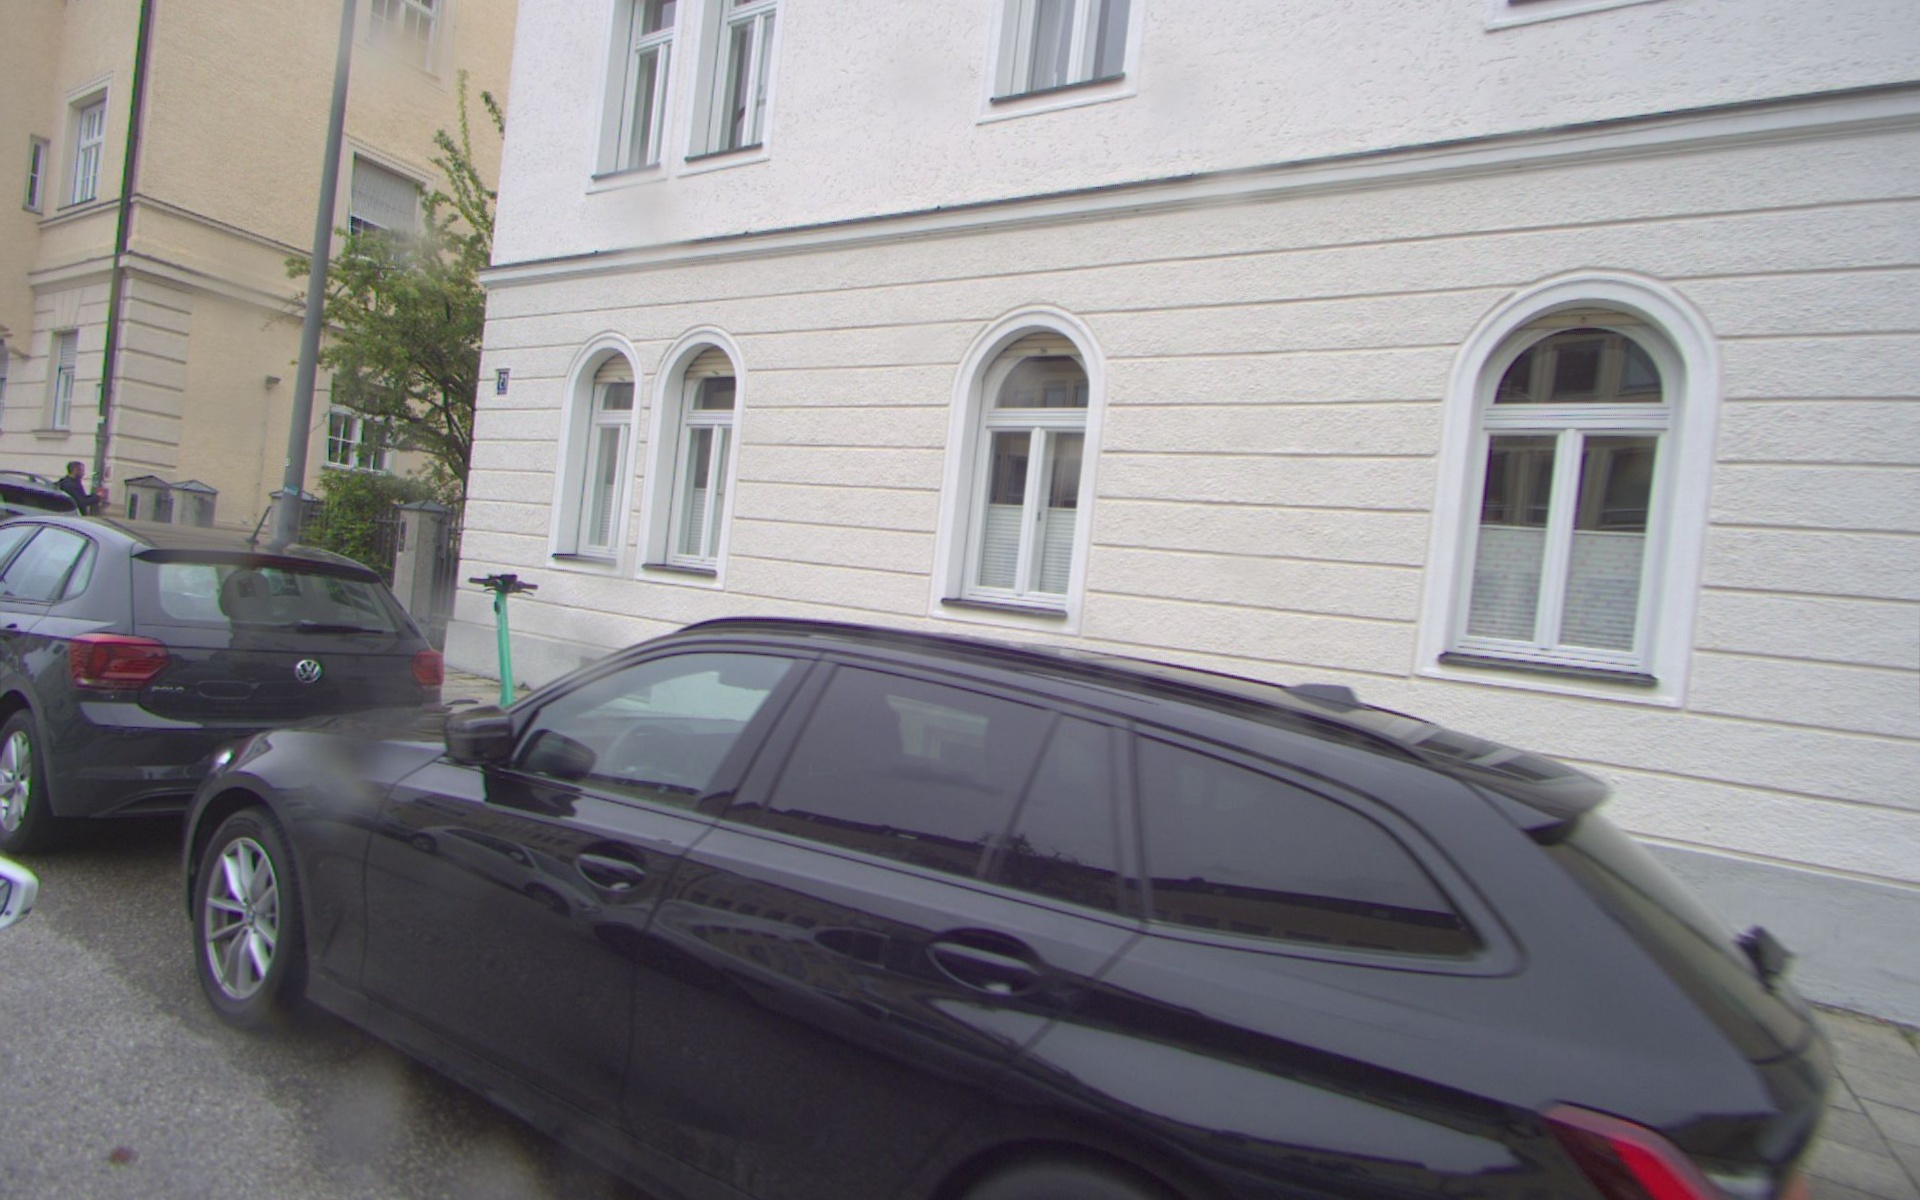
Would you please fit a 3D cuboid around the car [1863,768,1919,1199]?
[{"bbox_3d":[3.783,1.261,0.531,4.575,1.450,1.841,6,-2,30],"label":"car"}]

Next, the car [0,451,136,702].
[{"bbox_3d":[-8.684,-0.377,8.061,4.317,1.750,1.781,6,-2,32],"label":"car"}]

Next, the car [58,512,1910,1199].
[{"bbox_3d":[-0.538,0.714,2.979,4.453,1.430,1.802,6,-2,30],"label":"car"}]

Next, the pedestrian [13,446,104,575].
[{"bbox_3d":[-13.415,-1.300,14.997,0.677,1.781,0.689,8,-1,-27],"label":"pedestrian"}]

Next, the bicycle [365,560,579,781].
[{"bbox_3d":[-3.153,0.406,6.458,1.448,1.194,0.480,6,3,32],"label":"bicycle"}]

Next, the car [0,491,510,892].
[{"bbox_3d":[-4.531,0.262,5.513,3.989,1.459,1.707,6,-2,32],"label":"car"}]
